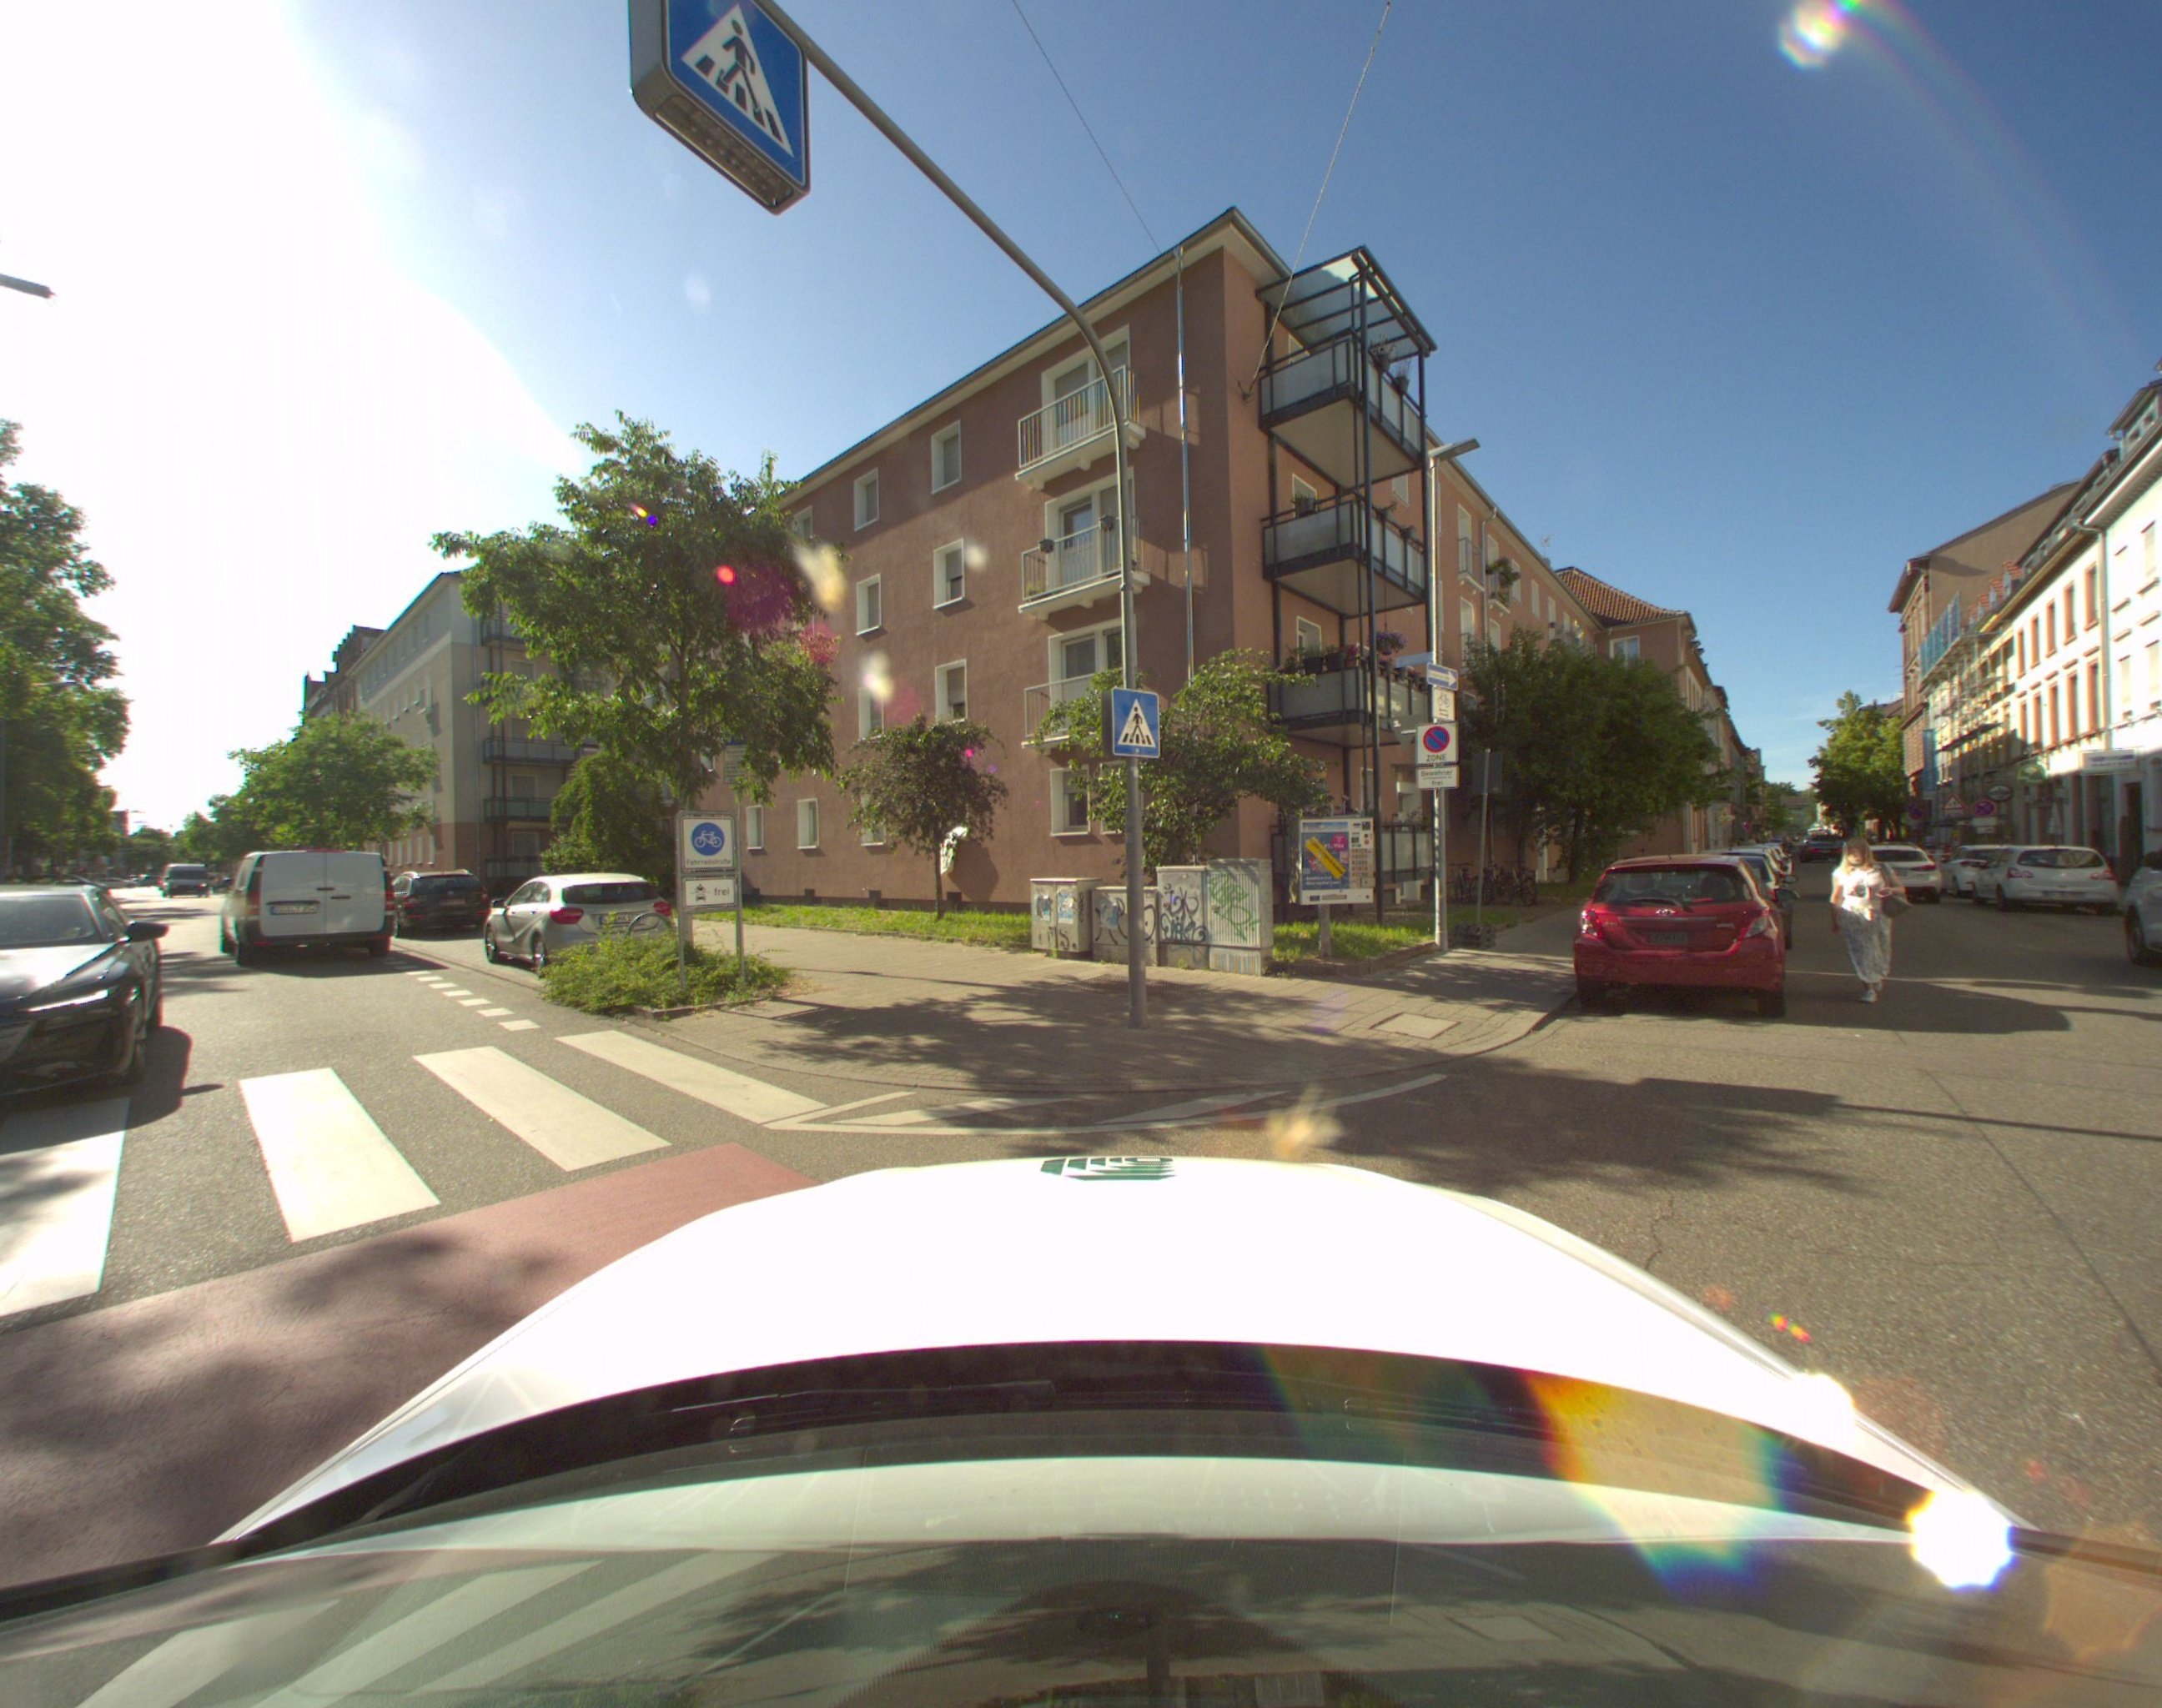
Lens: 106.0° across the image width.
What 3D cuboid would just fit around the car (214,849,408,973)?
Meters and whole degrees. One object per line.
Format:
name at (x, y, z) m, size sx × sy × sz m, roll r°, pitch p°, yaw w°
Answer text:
car at (-14.476, 0.909, 15.184) m, size 5.355 × 1.907 × 2.121 m, roll -1°, pitch 0°, yaw 41°

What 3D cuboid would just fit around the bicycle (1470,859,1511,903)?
bicycle at (10.318, 0.673, 20.560) m, size 0.252 × 1.071 × 1.213 m, roll -1°, pitch 0°, yaw -8°

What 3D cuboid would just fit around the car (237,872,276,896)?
car at (-57.410, 2.067, 56.668) m, size 3.809 × 1.519 × 1.756 m, roll -1°, pitch 0°, yaw 43°

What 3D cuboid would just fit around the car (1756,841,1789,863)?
car at (48.690, -0.132, 57.306) m, size 1.638 × 1.500 × 3.786 m, roll -1°, pitch 0°, yaw 42°

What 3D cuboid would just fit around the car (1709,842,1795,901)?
car at (18.725, 0.431, 22.683) m, size 1.638 × 1.500 × 3.786 m, roll -1°, pitch 0°, yaw 42°

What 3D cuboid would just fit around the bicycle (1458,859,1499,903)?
bicycle at (10.002, 0.656, 20.509) m, size 0.265 × 1.072 × 1.213 m, roll -1°, pitch 0°, yaw -8°

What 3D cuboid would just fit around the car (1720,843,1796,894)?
car at (21.567, 0.420, 25.898) m, size 1.638 × 1.500 × 3.786 m, roll -1°, pitch 0°, yaw 42°

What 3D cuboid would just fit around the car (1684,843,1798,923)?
car at (14.067, 0.536, 17.282) m, size 1.638 × 1.500 × 3.786 m, roll -1°, pitch 0°, yaw 42°

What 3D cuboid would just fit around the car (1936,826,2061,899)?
car at (25.388, 0.197, 22.677) m, size 1.877 × 1.859 × 4.019 m, roll -1°, pitch 0°, yaw 42°

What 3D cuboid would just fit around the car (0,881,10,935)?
car at (-34.789, 1.677, 23.451) m, size 1.640 × 1.610 × 4.670 m, roll -2°, pitch -1°, yaw 41°

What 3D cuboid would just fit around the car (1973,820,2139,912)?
car at (21.987, 0.231, 18.550) m, size 1.877 × 1.859 × 4.019 m, roll -1°, pitch 0°, yaw 42°

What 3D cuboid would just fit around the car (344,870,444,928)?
car at (-20.261, 1.255, 23.967) m, size 3.809 × 1.519 × 1.756 m, roll -1°, pitch 0°, yaw 43°

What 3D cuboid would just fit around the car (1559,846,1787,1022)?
car at (6.677, 0.703, 9.039) m, size 1.668 × 1.500 × 3.830 m, roll -2°, pitch -1°, yaw 40°

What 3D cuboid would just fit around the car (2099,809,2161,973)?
car at (12.774, 0.439, 8.374) m, size 1.877 × 1.859 × 5.045 m, roll 2°, pitch 2°, yaw 40°

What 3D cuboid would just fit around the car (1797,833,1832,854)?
car at (51.178, -0.745, 56.780) m, size 1.744 × 1.410 × 4.354 m, roll -1°, pitch 0°, yaw 42°

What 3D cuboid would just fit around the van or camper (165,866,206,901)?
van or camper at (-68.104, 2.222, 61.940) m, size 5.746 × 2.475 × 2.012 m, roll -1°, pitch 0°, yaw 42°

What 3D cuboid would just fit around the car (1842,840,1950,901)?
car at (21.354, 0.406, 21.479) m, size 1.814 × 1.457 × 3.986 m, roll -1°, pitch -1°, yaw 42°

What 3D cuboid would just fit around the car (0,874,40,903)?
car at (-53.968, 1.725, 40.187) m, size 1.640 × 1.409 × 3.129 m, roll -1°, pitch -1°, yaw 41°

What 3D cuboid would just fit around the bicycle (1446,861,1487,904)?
bicycle at (9.672, 0.688, 20.477) m, size 0.290 × 1.035 × 1.213 m, roll -1°, pitch 0°, yaw -8°

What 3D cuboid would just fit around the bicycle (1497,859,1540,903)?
bicycle at (10.946, 0.660, 20.390) m, size 0.252 × 1.071 × 1.216 m, roll -1°, pitch 0°, yaw -8°

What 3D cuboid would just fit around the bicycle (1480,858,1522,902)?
bicycle at (10.612, 0.648, 20.599) m, size 0.252 × 1.071 × 1.213 m, roll -1°, pitch 0°, yaw -8°

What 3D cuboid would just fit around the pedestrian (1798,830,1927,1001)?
pedestrian at (7.829, 0.586, 8.205) m, size 0.726 × 1.614 × 0.821 m, roll -2°, pitch -1°, yaw 31°

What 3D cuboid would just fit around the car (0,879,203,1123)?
car at (-8.526, 0.986, 6.392) m, size 1.927 × 1.453 × 4.521 m, roll -2°, pitch 0°, yaw -44°

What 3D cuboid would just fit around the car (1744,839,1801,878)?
car at (28.300, 0.174, 33.292) m, size 1.638 × 1.500 × 3.786 m, roll -1°, pitch 0°, yaw 42°

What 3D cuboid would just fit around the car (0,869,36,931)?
car at (-36.666, 1.526, 25.175) m, size 1.640 × 1.981 × 5.262 m, roll -2°, pitch -1°, yaw 41°

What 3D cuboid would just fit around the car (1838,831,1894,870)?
car at (39.012, -0.178, 40.537) m, size 1.877 × 1.859 × 4.019 m, roll -1°, pitch 0°, yaw 42°

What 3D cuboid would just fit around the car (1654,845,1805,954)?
car at (10.755, 0.621, 13.398) m, size 1.638 × 1.500 × 4.104 m, roll -1°, pitch 0°, yaw 42°

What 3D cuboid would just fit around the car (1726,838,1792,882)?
car at (24.653, 0.177, 29.584) m, size 1.638 × 1.500 × 3.786 m, roll -1°, pitch 0°, yaw 42°

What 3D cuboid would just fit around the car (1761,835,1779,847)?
car at (91.652, -1.770, 108.296) m, size 1.638 × 1.500 × 3.786 m, roll -1°, pitch 0°, yaw 42°

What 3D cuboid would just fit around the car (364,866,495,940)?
car at (-15.824, 1.130, 19.705) m, size 4.254 × 1.519 × 1.800 m, roll -2°, pitch 0°, yaw 43°

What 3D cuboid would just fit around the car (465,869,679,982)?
car at (-8.115, 1.004, 12.836) m, size 4.102 × 1.454 × 1.756 m, roll -1°, pitch 0°, yaw 42°

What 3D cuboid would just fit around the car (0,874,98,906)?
car at (-72.056, 2.470, 56.255) m, size 1.640 × 1.981 × 5.262 m, roll -2°, pitch -1°, yaw 41°
